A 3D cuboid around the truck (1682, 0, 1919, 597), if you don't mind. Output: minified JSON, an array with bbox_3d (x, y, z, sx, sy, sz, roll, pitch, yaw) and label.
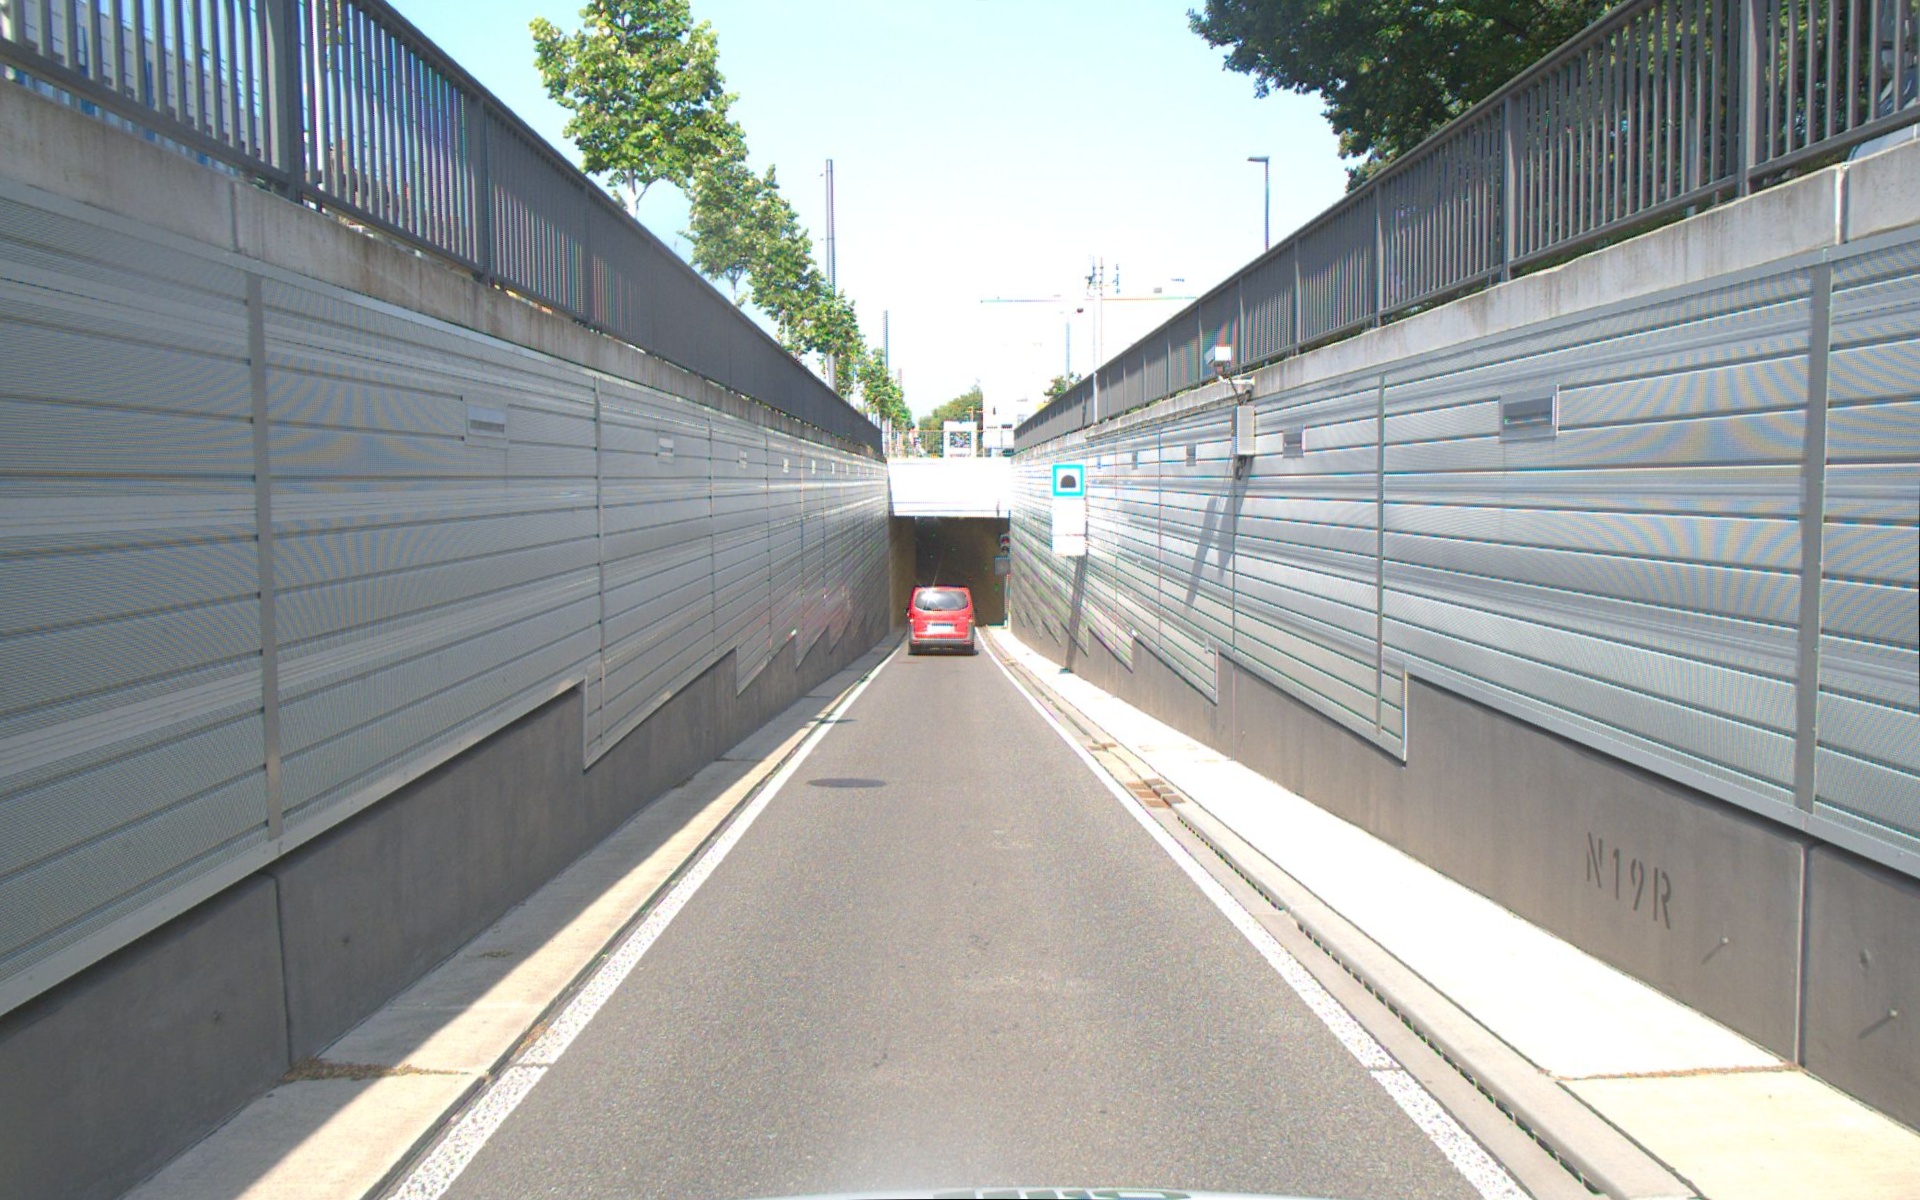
[{"bbox_3d":[5.165,-1.548,4.933,2.451,3.114,7.819,2,0,-1],"label":"truck"}]

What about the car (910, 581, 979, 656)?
[{"bbox_3d":[-0.456,0.476,46.828,1.862,1.891,4.000,1,2,-1],"label":"car"}]

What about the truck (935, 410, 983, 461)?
[{"bbox_3d":[-0.173,-13.247,134.109,3.323,3.789,10.451,-1,4,-3],"label":"truck"}]
